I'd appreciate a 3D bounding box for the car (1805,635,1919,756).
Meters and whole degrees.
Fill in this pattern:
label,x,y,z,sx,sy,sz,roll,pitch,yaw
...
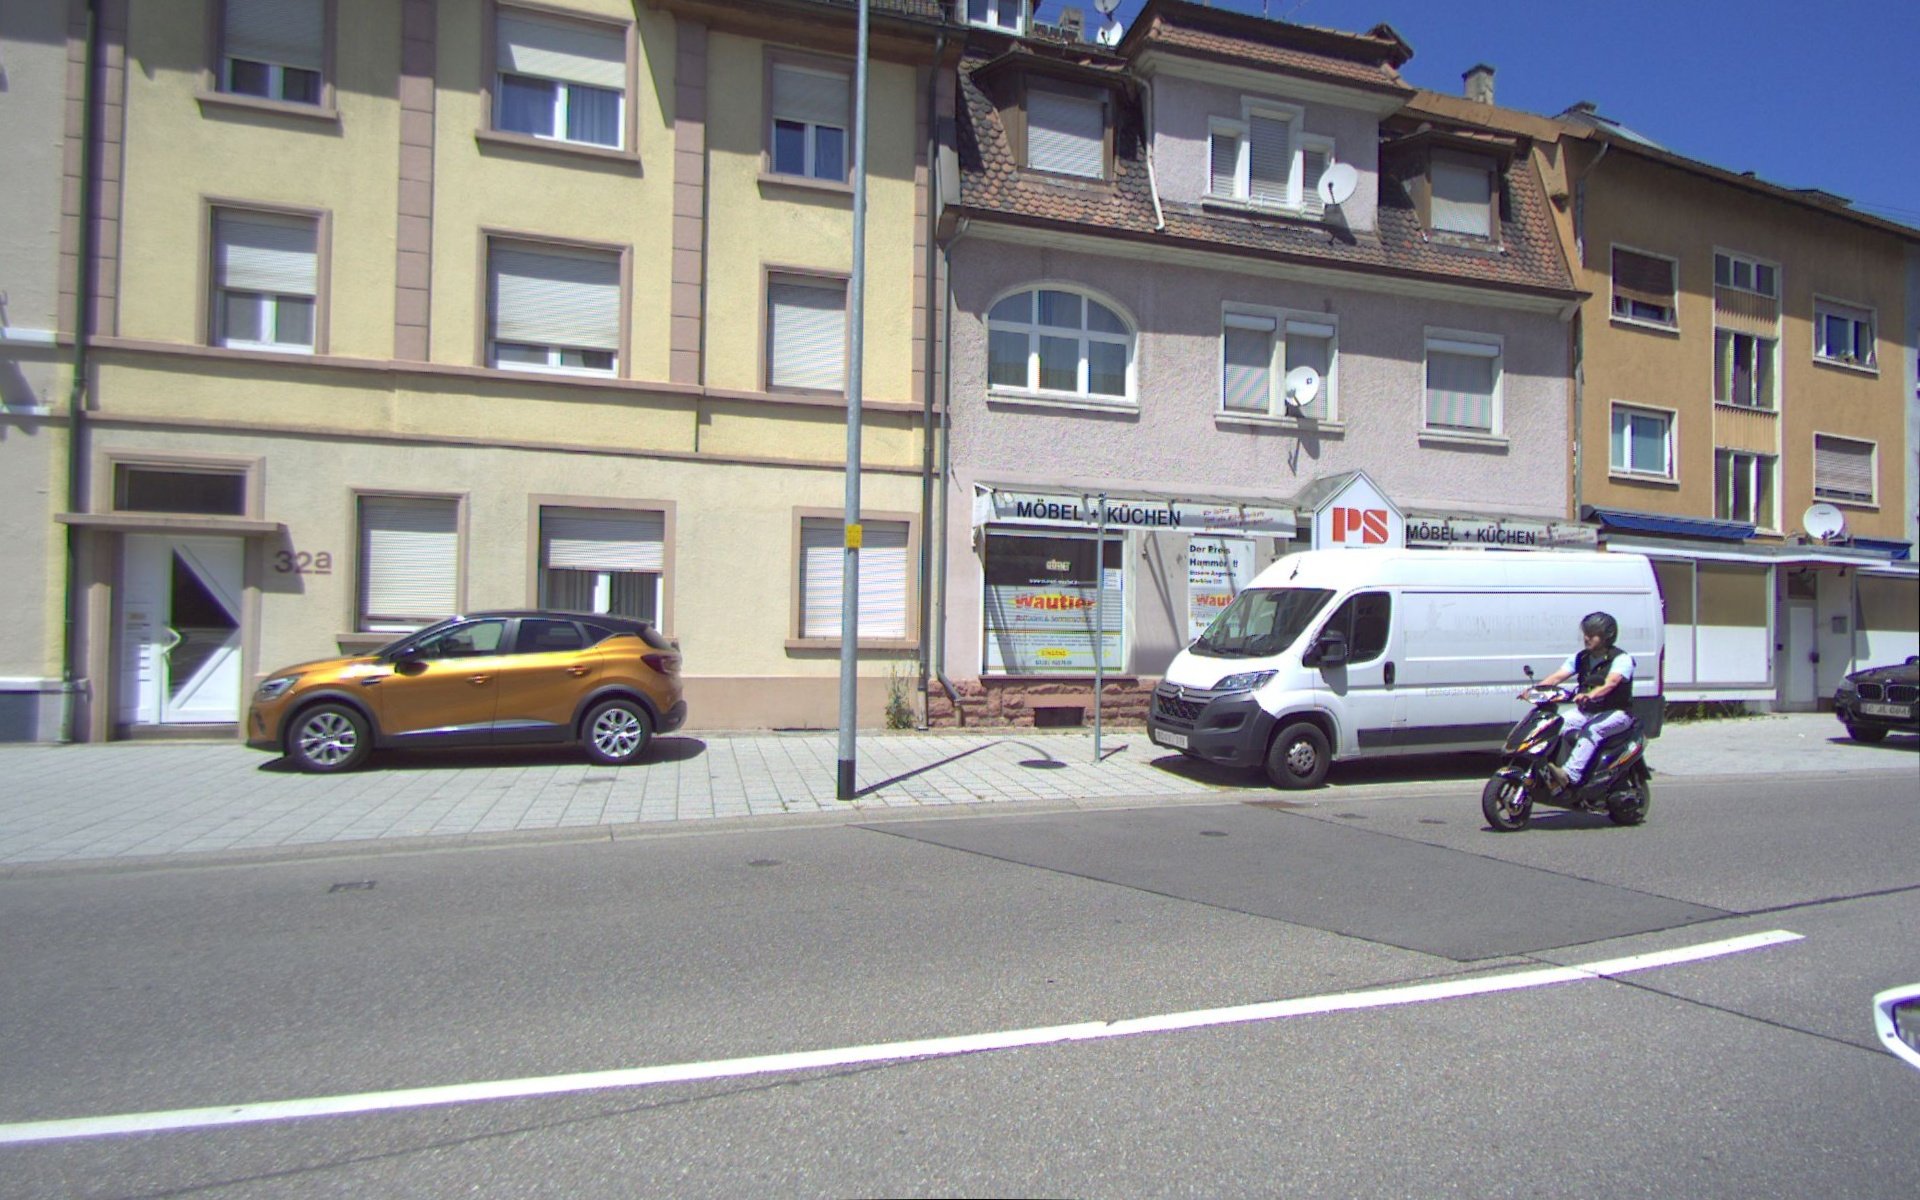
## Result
label,x,y,z,sx,sy,sz,roll,pitch,yaw
car,15.565,1.364,14.821,5.018,1.636,2.088,1,0,-12

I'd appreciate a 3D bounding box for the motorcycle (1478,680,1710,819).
label,x,y,z,sx,sy,sz,roll,pitch,yaw
motorcycle,5.124,1.171,8.123,1.771,1.013,0.606,1,-2,-18

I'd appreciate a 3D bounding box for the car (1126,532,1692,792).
label,x,y,z,sx,sy,sz,roll,pitch,yaw
car,5.111,0.649,11.504,6.019,2.482,2.118,1,0,-18

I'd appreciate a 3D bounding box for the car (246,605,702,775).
label,x,y,z,sx,sy,sz,roll,pitch,yaw
car,-4.868,0.872,10.694,4.048,1.562,1.794,1,-1,-16

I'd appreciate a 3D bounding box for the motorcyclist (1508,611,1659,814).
label,x,y,z,sx,sy,sz,roll,pitch,yaw
motorcyclist,4.997,0.873,8.070,0.881,1.544,0.601,1,-2,-19
